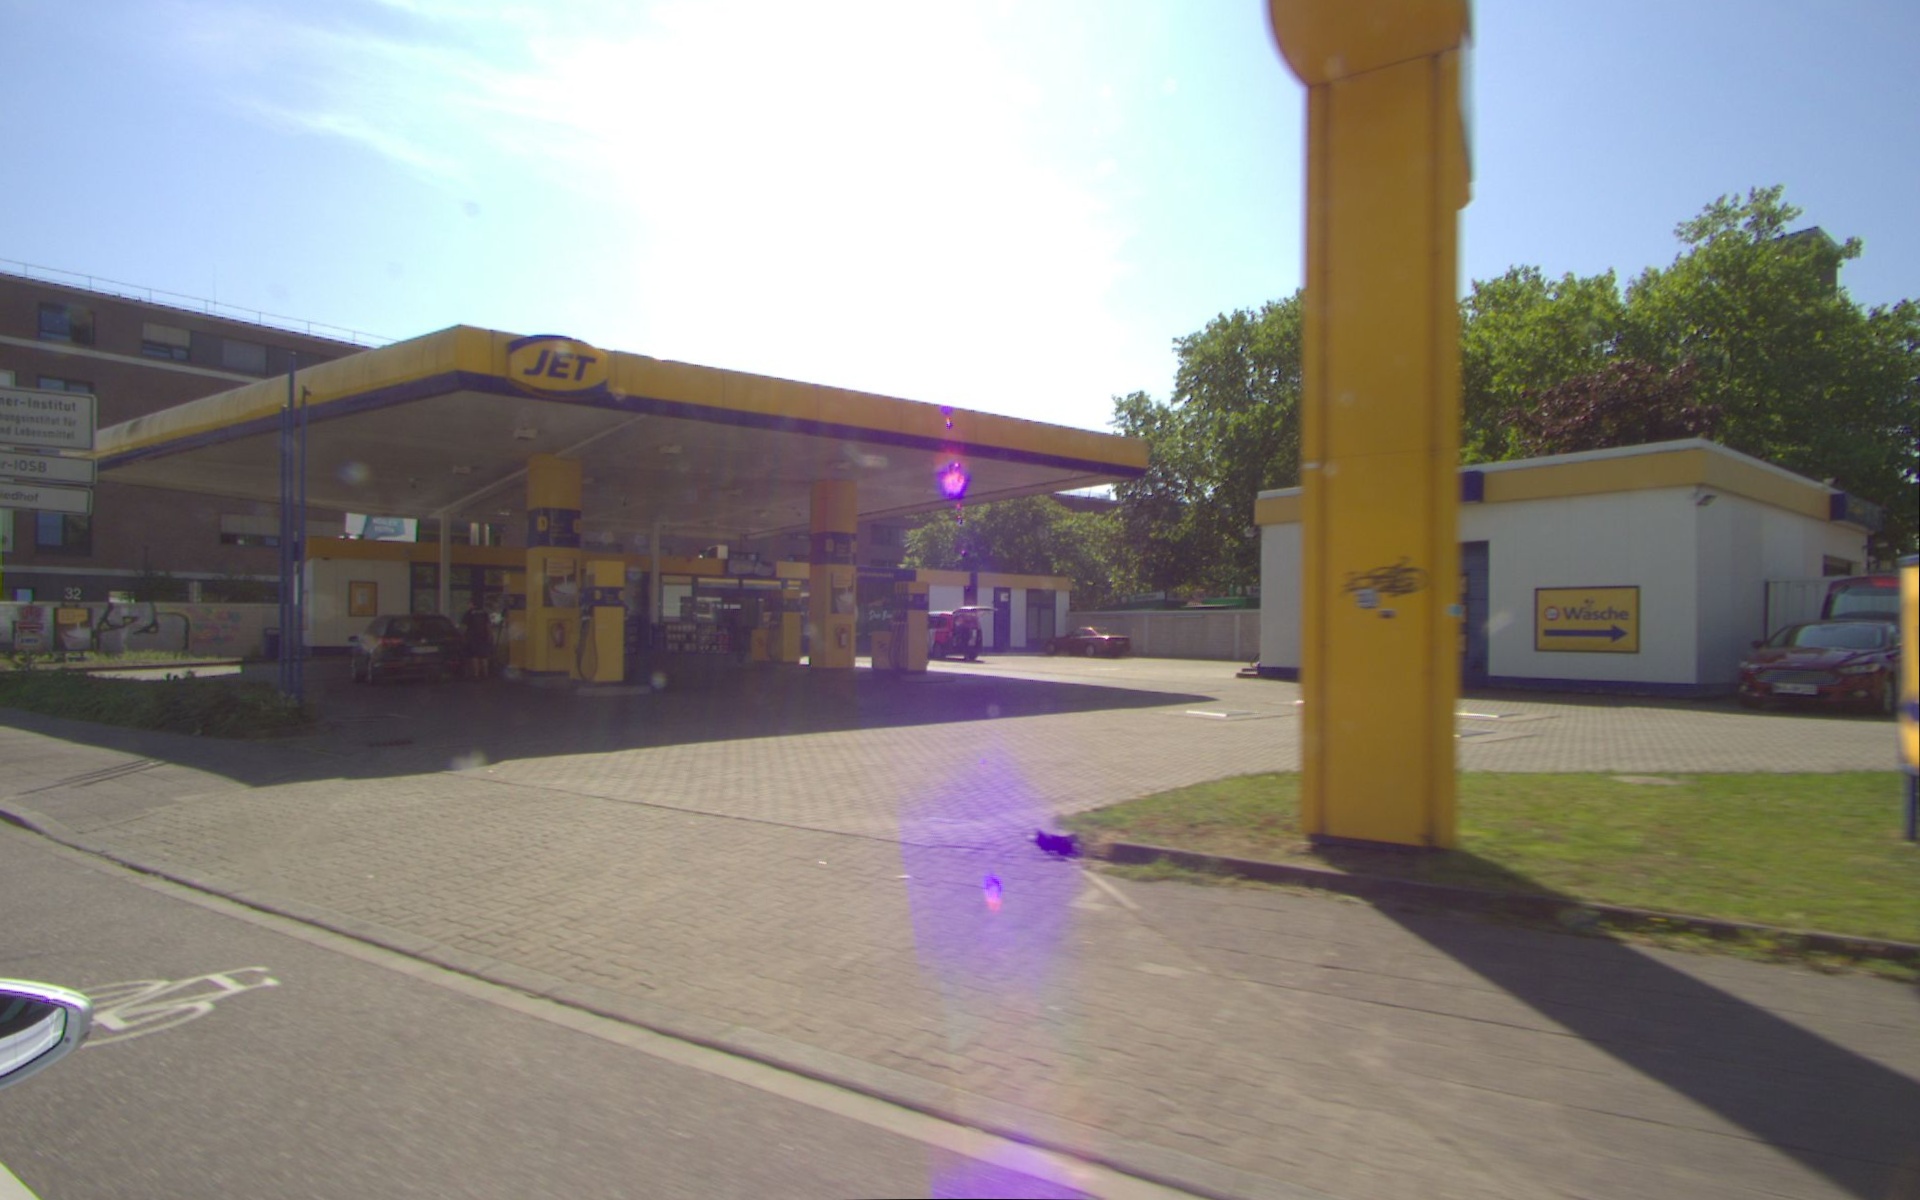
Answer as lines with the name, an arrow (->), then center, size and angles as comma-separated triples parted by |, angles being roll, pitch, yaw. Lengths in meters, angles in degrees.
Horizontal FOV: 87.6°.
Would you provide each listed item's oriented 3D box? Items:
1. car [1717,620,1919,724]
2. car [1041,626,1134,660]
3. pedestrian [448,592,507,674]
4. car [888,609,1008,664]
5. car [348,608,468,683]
car -> 14.347, 1.085, 16.358 | 4.498, 1.479, 1.880 | 1, -1, -35
car -> 5.643, 1.878, 44.688 | 1.741, 1.378, 4.100 | 1, -1, -38
pedestrian -> -10.551, 0.706, 21.899 | 0.734, 1.749, 0.854 | 0, 2, 32
car -> -0.551, 1.369, 38.951 | 1.742, 2.008, 5.262 | 1, -1, -40
car -> -12.255, 0.939, 22.096 | 1.740, 1.474, 4.377 | 1, -1, -37
